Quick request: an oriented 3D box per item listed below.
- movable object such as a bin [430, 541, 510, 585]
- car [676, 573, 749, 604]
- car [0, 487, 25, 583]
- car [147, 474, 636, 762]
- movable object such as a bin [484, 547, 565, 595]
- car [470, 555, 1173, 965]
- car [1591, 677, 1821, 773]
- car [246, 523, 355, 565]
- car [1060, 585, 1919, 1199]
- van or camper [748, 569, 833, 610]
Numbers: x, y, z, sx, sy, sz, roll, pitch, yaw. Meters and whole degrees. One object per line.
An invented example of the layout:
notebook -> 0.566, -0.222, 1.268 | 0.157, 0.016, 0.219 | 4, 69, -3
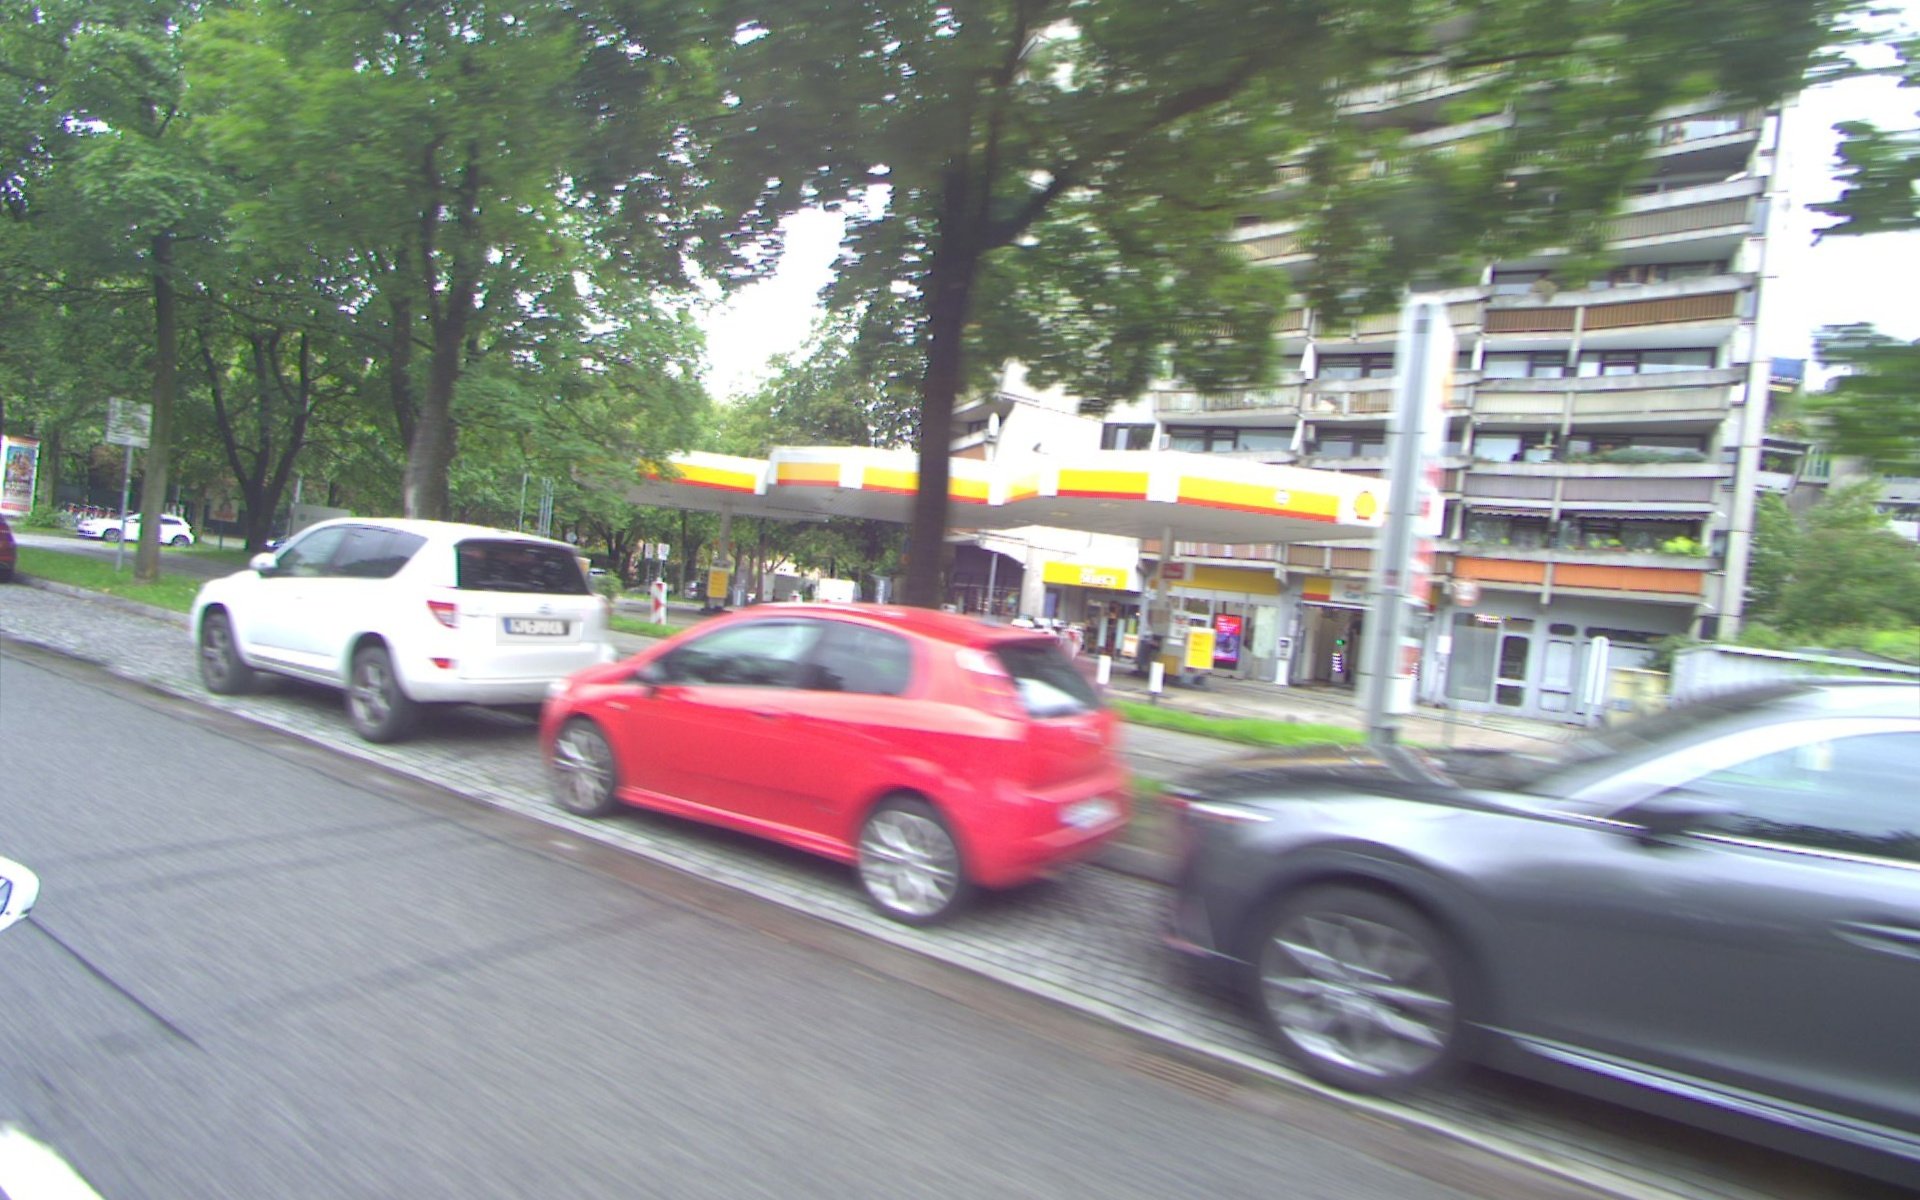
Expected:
movable object such as a bin -> -17.713, -1.328, 36.407 | 1.506, 1.278, 2.062 | 7, 0, 31
car -> -14.927, -0.668, 60.869 | 1.742, 1.633, 4.021 | 8, 4, 38
car -> -16.829, -1.202, 16.014 | 4.211, 1.444, 1.711 | 7, 4, 30
car -> -5.153, 0.016, 8.921 | 4.453, 1.855, 1.761 | 7, 2, 31
movable object such as a bin -> -16.576, -1.109, 38.317 | 1.807, 1.505, 2.063 | 7, 0, 32
car -> -0.987, 0.701, 6.301 | 4.074, 1.527, 1.761 | 7, 2, 31
car -> 17.403, 2.872, 23.744 | 3.929, 1.539, 1.889 | 7, 0, 26
car -> -31.201, -2.641, 47.661 | 1.903, 1.633, 3.871 | 8, 4, 38
car -> 3.120, 1.087, 3.509 | 5.143, 1.721, 1.761 | 7, 2, 31
van or camper -> -11.142, -0.693, 66.502 | 2.522, 2.395, 5.077 | 8, 5, 38
